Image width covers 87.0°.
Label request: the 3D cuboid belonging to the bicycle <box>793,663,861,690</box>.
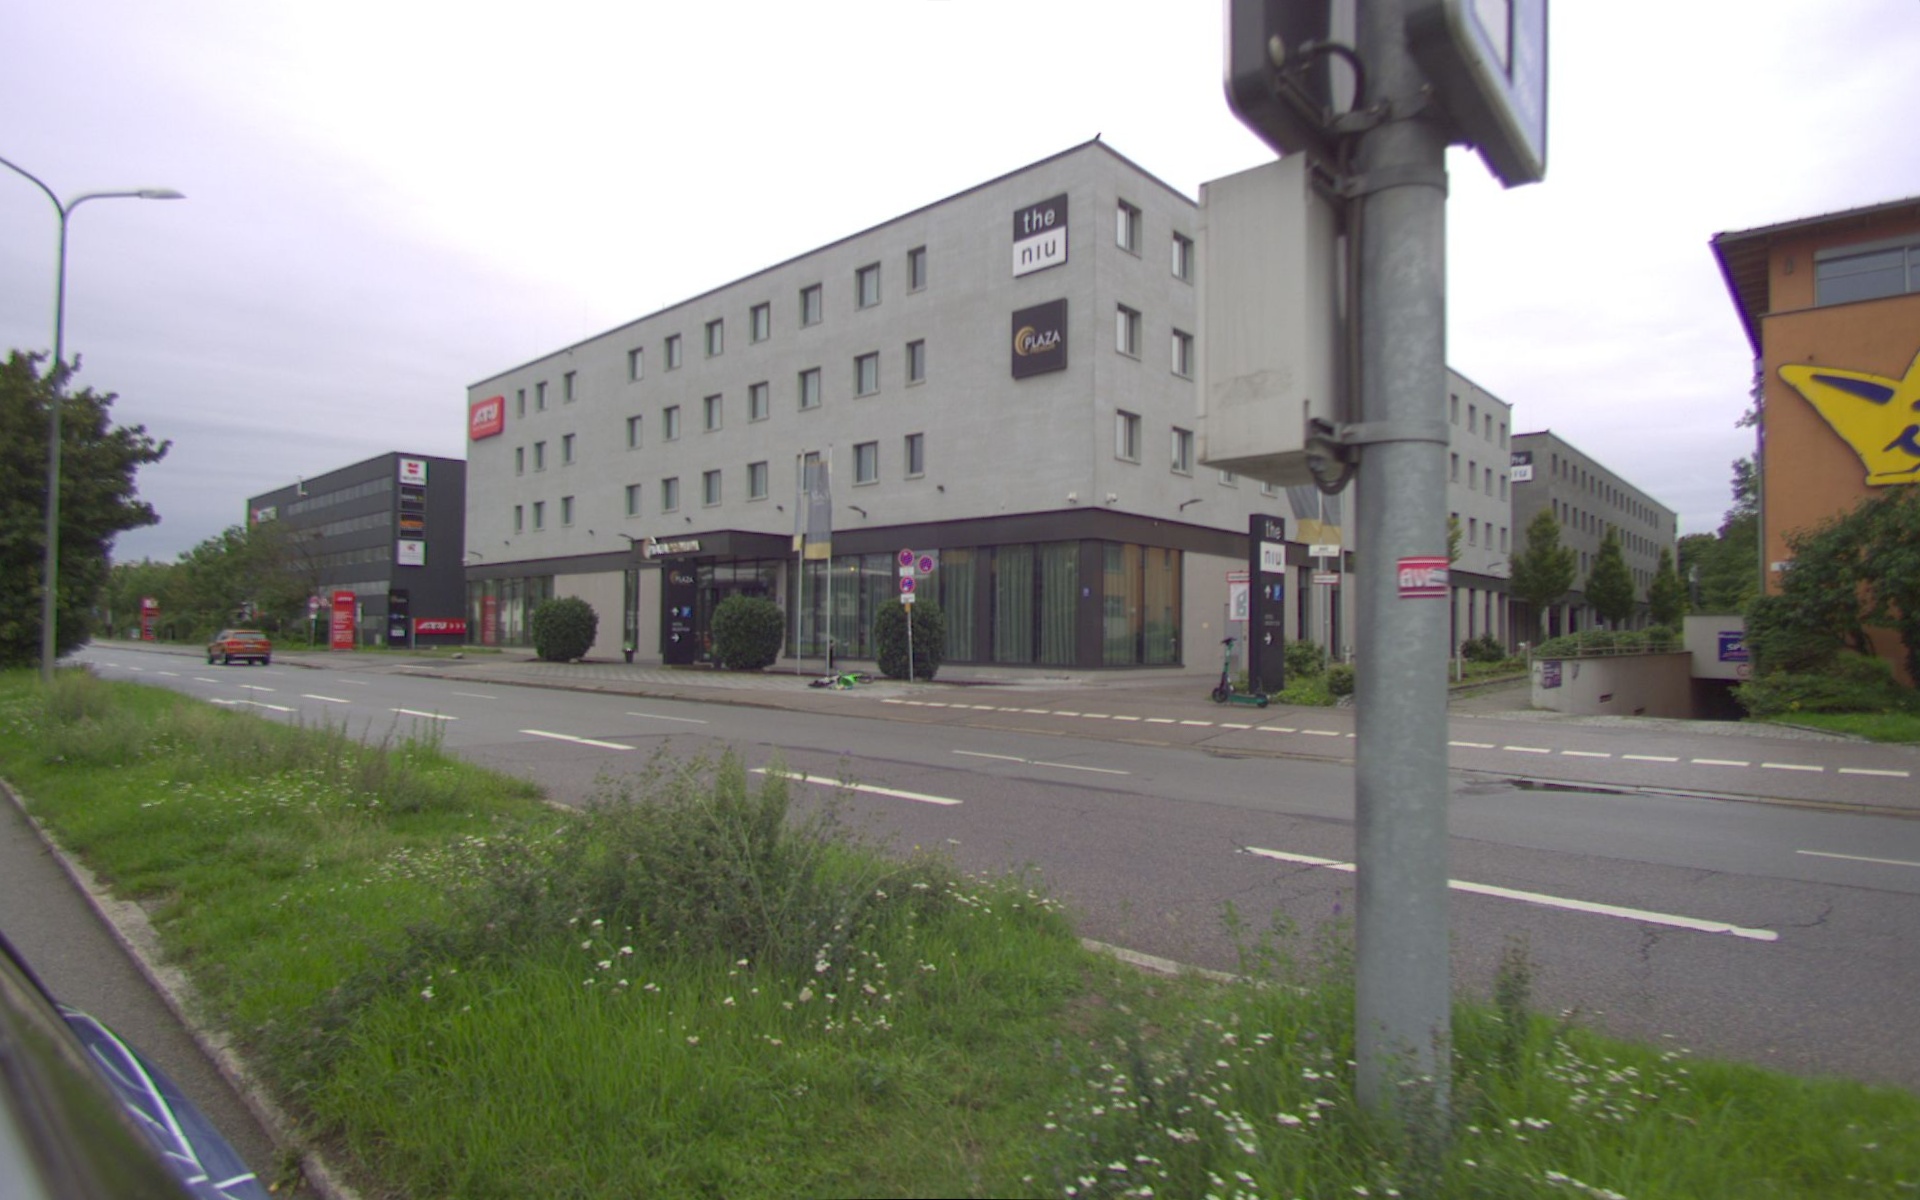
[{"bbox_3d":[-3.306,1.880,25.046,1.732,0.553,0.712,-1,1,43],"label":"bicycle"}]

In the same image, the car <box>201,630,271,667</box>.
[{"bbox_3d":[-33.278,2.210,46.487,4.303,1.560,1.717,-1,-3,42],"label":"car"}]

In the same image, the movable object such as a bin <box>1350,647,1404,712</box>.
[{"bbox_3d":[7.345,1.378,17.825,0.655,1.086,0.729,-1,-1,43],"label":"movable object such as a bin"}]

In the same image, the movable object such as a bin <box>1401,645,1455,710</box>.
[{"bbox_3d":[8.215,1.347,17.757,0.655,1.086,0.729,-1,-1,43],"label":"movable object such as a bin"}]

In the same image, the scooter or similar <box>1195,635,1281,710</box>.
[{"bbox_3d":[5.194,1.330,18.931,1.404,1.287,0.579,-1,2,43],"label":"scooter or similar"}]

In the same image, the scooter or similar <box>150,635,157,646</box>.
[{"bbox_3d":[-73.760,3.677,92.560,1.219,1.012,0.301,-1,-1,40],"label":"scooter or similar"}]
